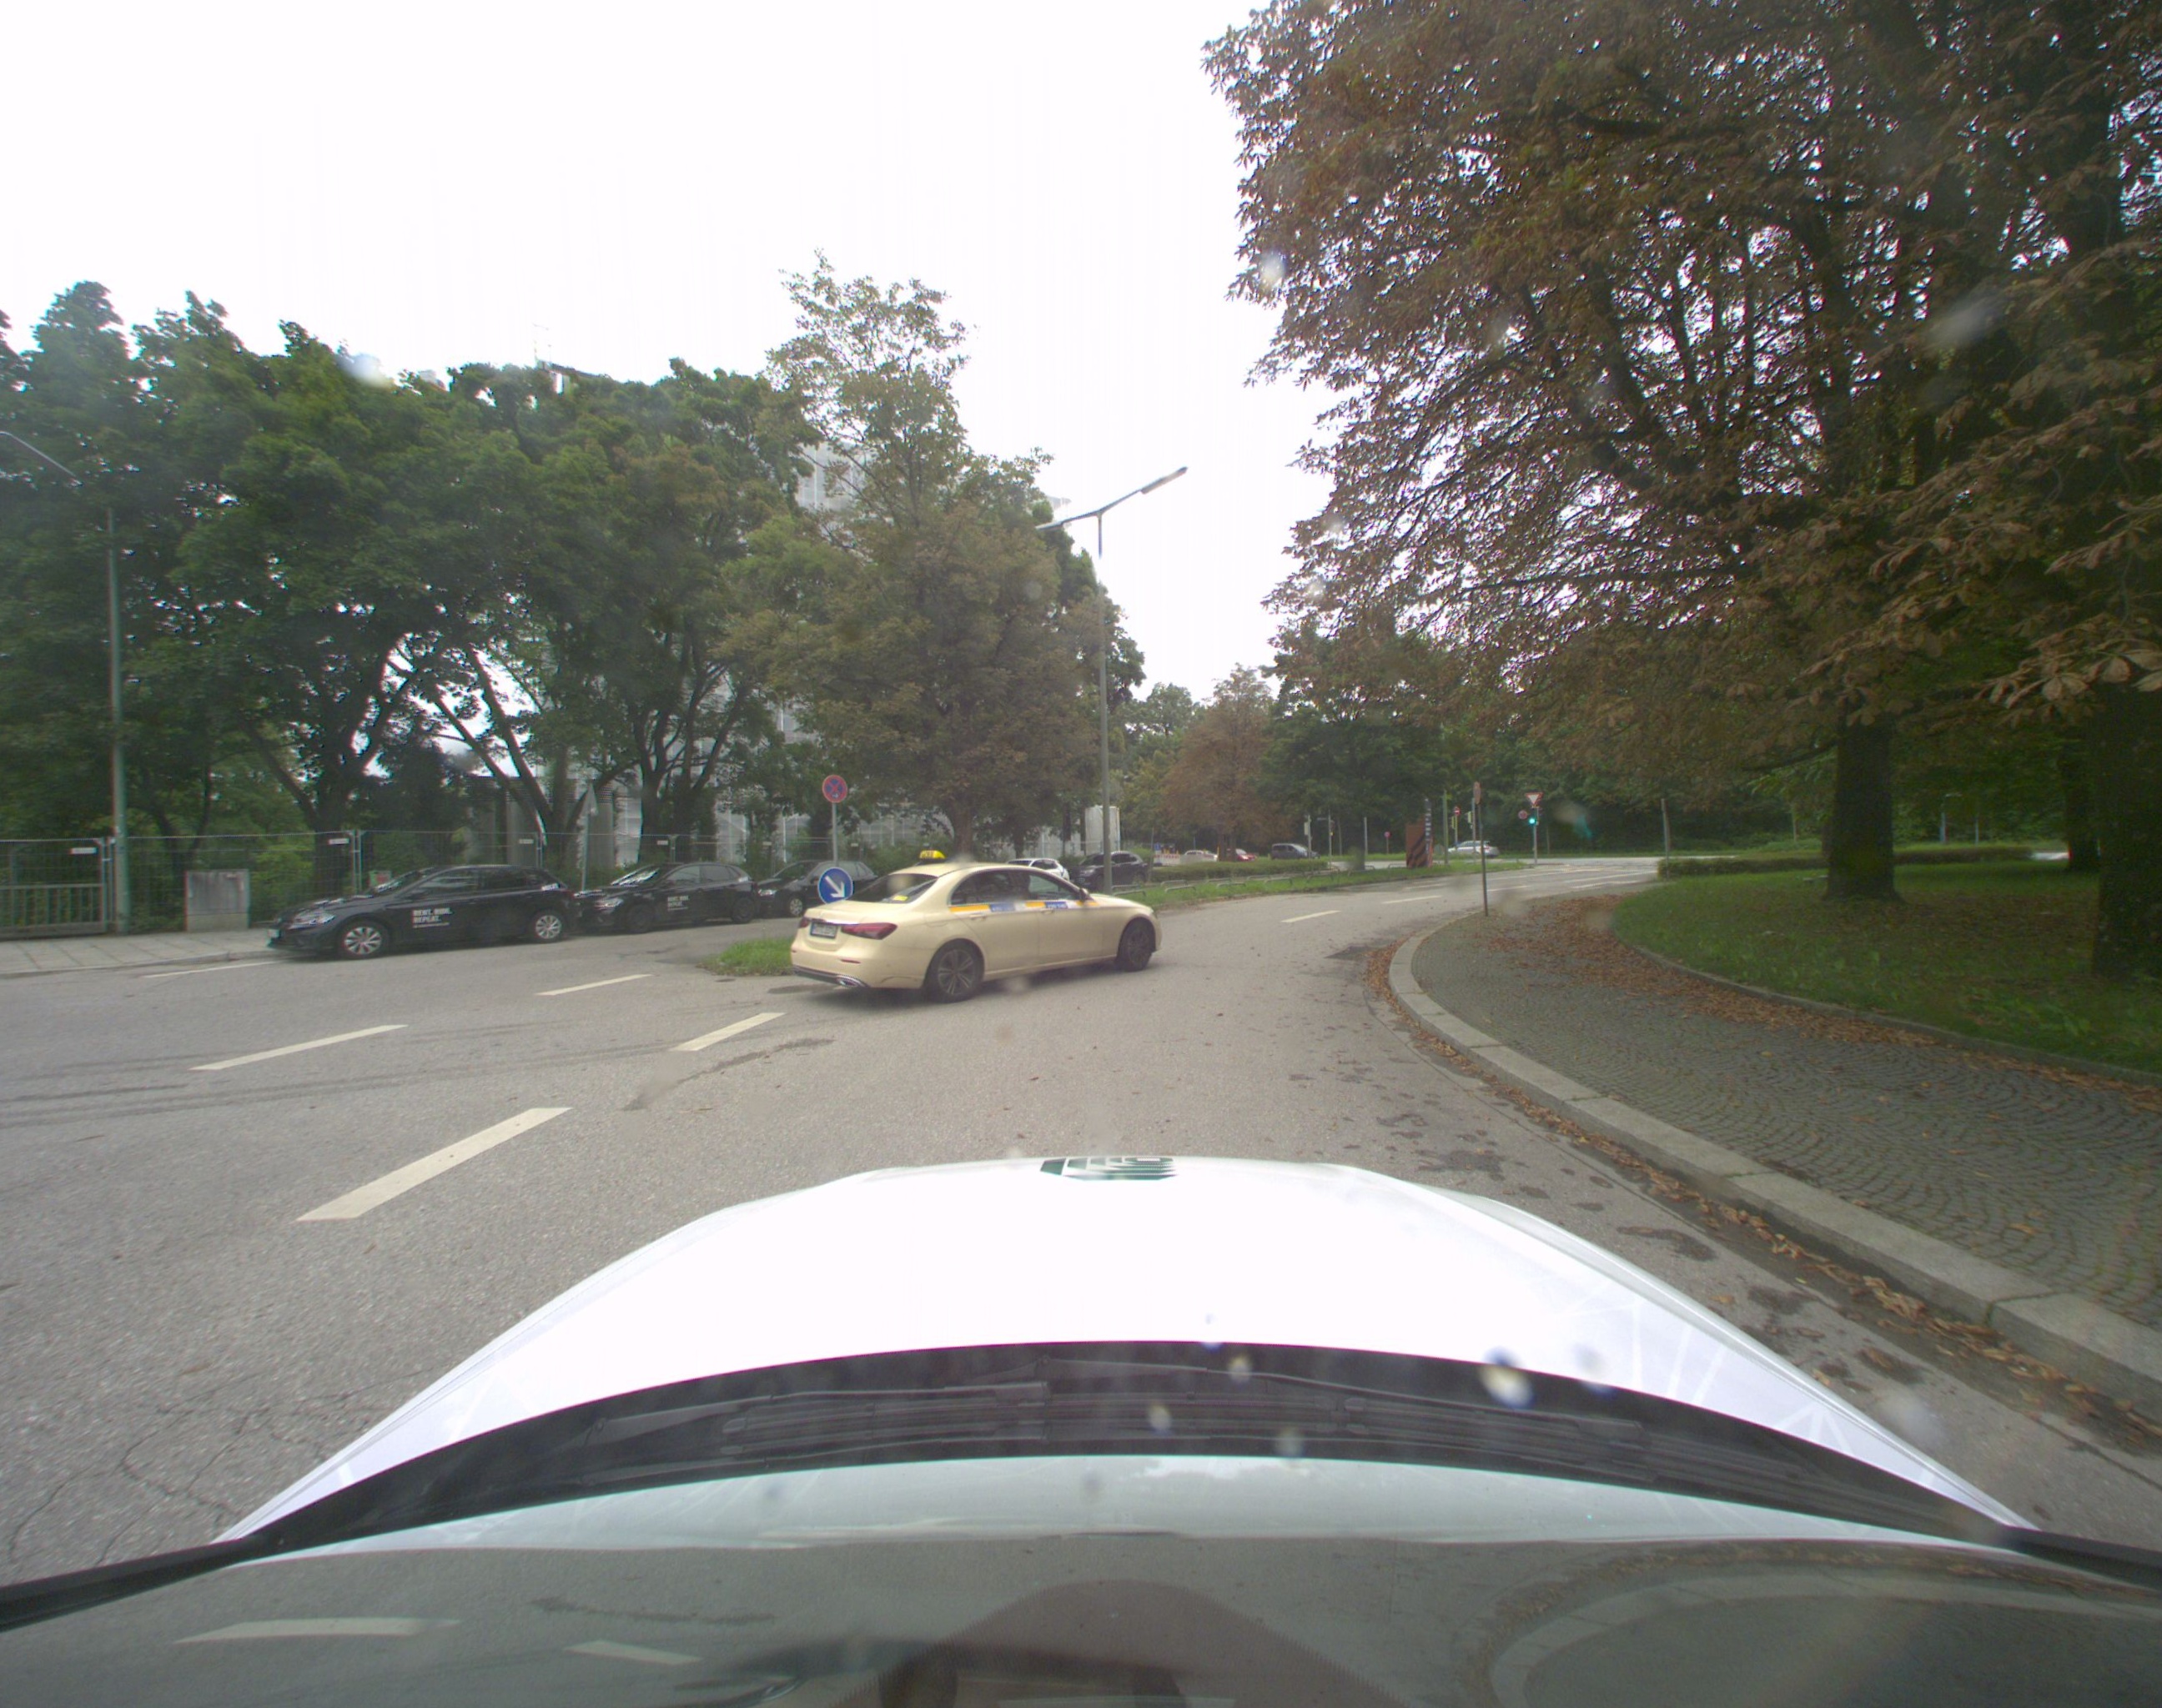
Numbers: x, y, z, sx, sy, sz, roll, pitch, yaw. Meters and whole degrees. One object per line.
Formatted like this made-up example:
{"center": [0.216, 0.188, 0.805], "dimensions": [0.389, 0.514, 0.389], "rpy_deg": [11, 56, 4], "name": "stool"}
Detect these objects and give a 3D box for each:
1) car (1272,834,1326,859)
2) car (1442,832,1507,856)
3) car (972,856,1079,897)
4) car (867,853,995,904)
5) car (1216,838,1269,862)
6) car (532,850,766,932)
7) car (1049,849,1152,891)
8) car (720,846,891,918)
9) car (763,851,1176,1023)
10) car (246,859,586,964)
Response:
{"center": [18.704, -0.636, 69.951], "dimensions": [2.011, 2.013, 3.952], "rpy_deg": [-1, 0, -41], "name": "car"}
{"center": [30.610, -0.753, 63.409], "dimensions": [2.008, 1.750, 4.081], "rpy_deg": [-1, 0, -34], "name": "car"}
{"center": [-1.972, 0.797, 30.340], "dimensions": [1.778, 1.383, 4.245], "rpy_deg": [-2, -1, 32], "name": "car"}
{"center": [-4.688, 0.741, 25.969], "dimensions": [1.817, 1.461, 4.031], "rpy_deg": [-2, -1, 30], "name": "car"}
{"center": [14.102, -0.350, 71.206], "dimensions": [2.011, 2.013, 4.108], "rpy_deg": [-1, 0, -41], "name": "car"}
{"center": [-9.171, 0.686, 17.617], "dimensions": [1.974, 1.541, 4.025], "rpy_deg": [0, 0, 30], "name": "car"}
{"center": [0.883, 0.687, 33.834], "dimensions": [1.867, 1.606, 4.423], "rpy_deg": [-2, -2, 41], "name": "car"}
{"center": [-7.222, 0.655, 21.756], "dimensions": [1.974, 1.706, 4.025], "rpy_deg": [0, 0, 30], "name": "car"}
{"center": [-1.102, 0.782, 10.005], "dimensions": [1.870, 1.545, 4.882], "rpy_deg": [-1, 0, 45], "name": "car"}
{"center": [-11.130, 0.841, 13.952], "dimensions": [1.974, 1.432, 4.068], "rpy_deg": [1, 1, 30], "name": "car"}
